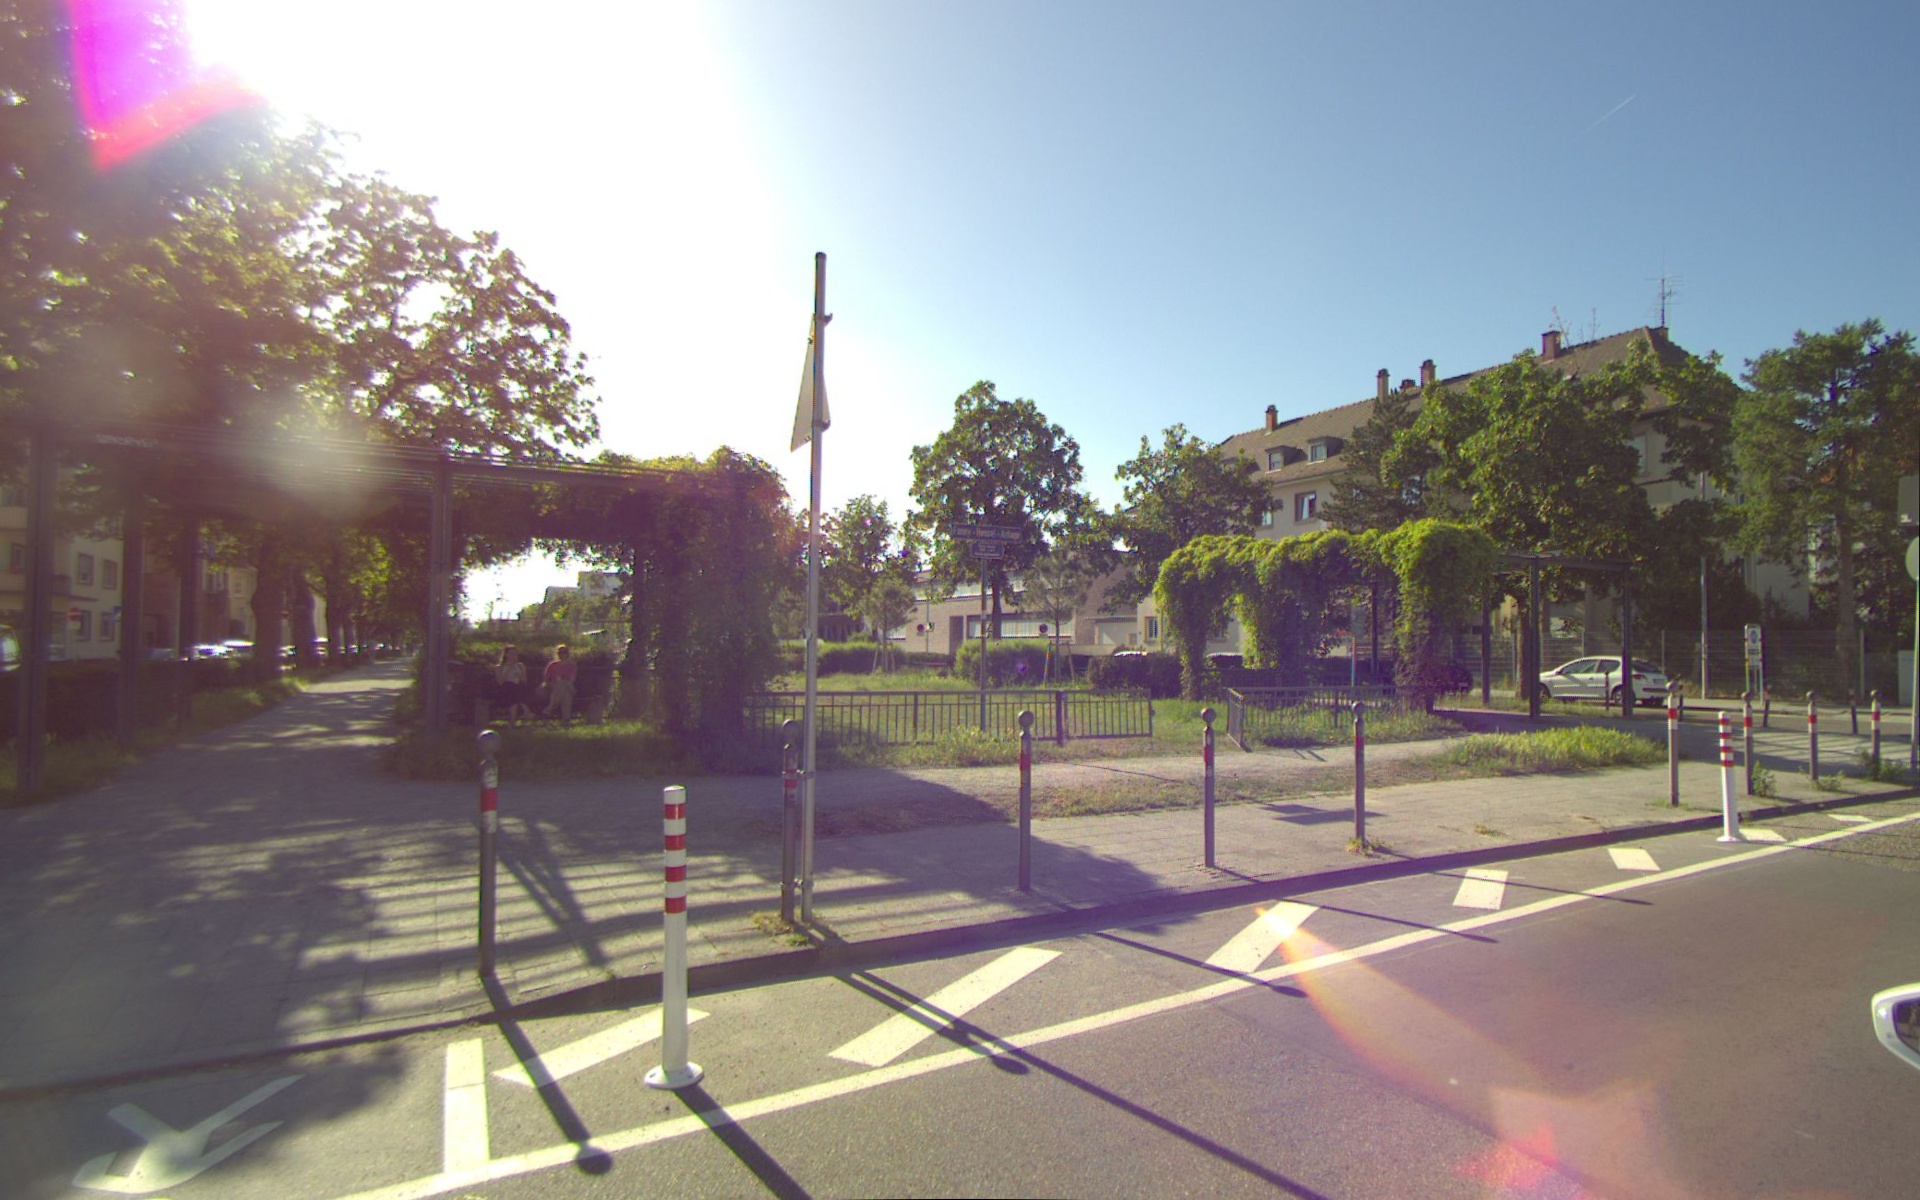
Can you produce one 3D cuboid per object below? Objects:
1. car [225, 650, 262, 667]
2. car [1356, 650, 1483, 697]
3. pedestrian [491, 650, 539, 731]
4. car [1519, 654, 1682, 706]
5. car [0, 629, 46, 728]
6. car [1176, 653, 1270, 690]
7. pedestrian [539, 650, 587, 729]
[{"bbox_3d":[-50.117,4.093,70.305,1.661,1.147,3.720,2,-3,-30],"label":"car"},{"bbox_3d":[15.875,2.523,34.888,1.656,1.514,3.799,3,-4,-28],"label":"car"},{"bbox_3d":[-6.657,1.328,15.006,0.591,1.164,0.840,1,-3,-27],"label":"pedestrian"},{"bbox_3d":[18.840,2.334,29.708,1.686,1.416,3.749,3,-4,-28],"label":"car"},{"bbox_3d":[-19.874,1.504,19.453,1.873,1.986,4.854,4,-4,-27],"label":"car"},{"bbox_3d":[11.399,3.105,43.841,1.779,1.514,3.972,3,-4,-28],"label":"car"},{"bbox_3d":[-6.058,1.345,15.310,0.591,1.153,0.869,1,-3,-27],"label":"pedestrian"}]
